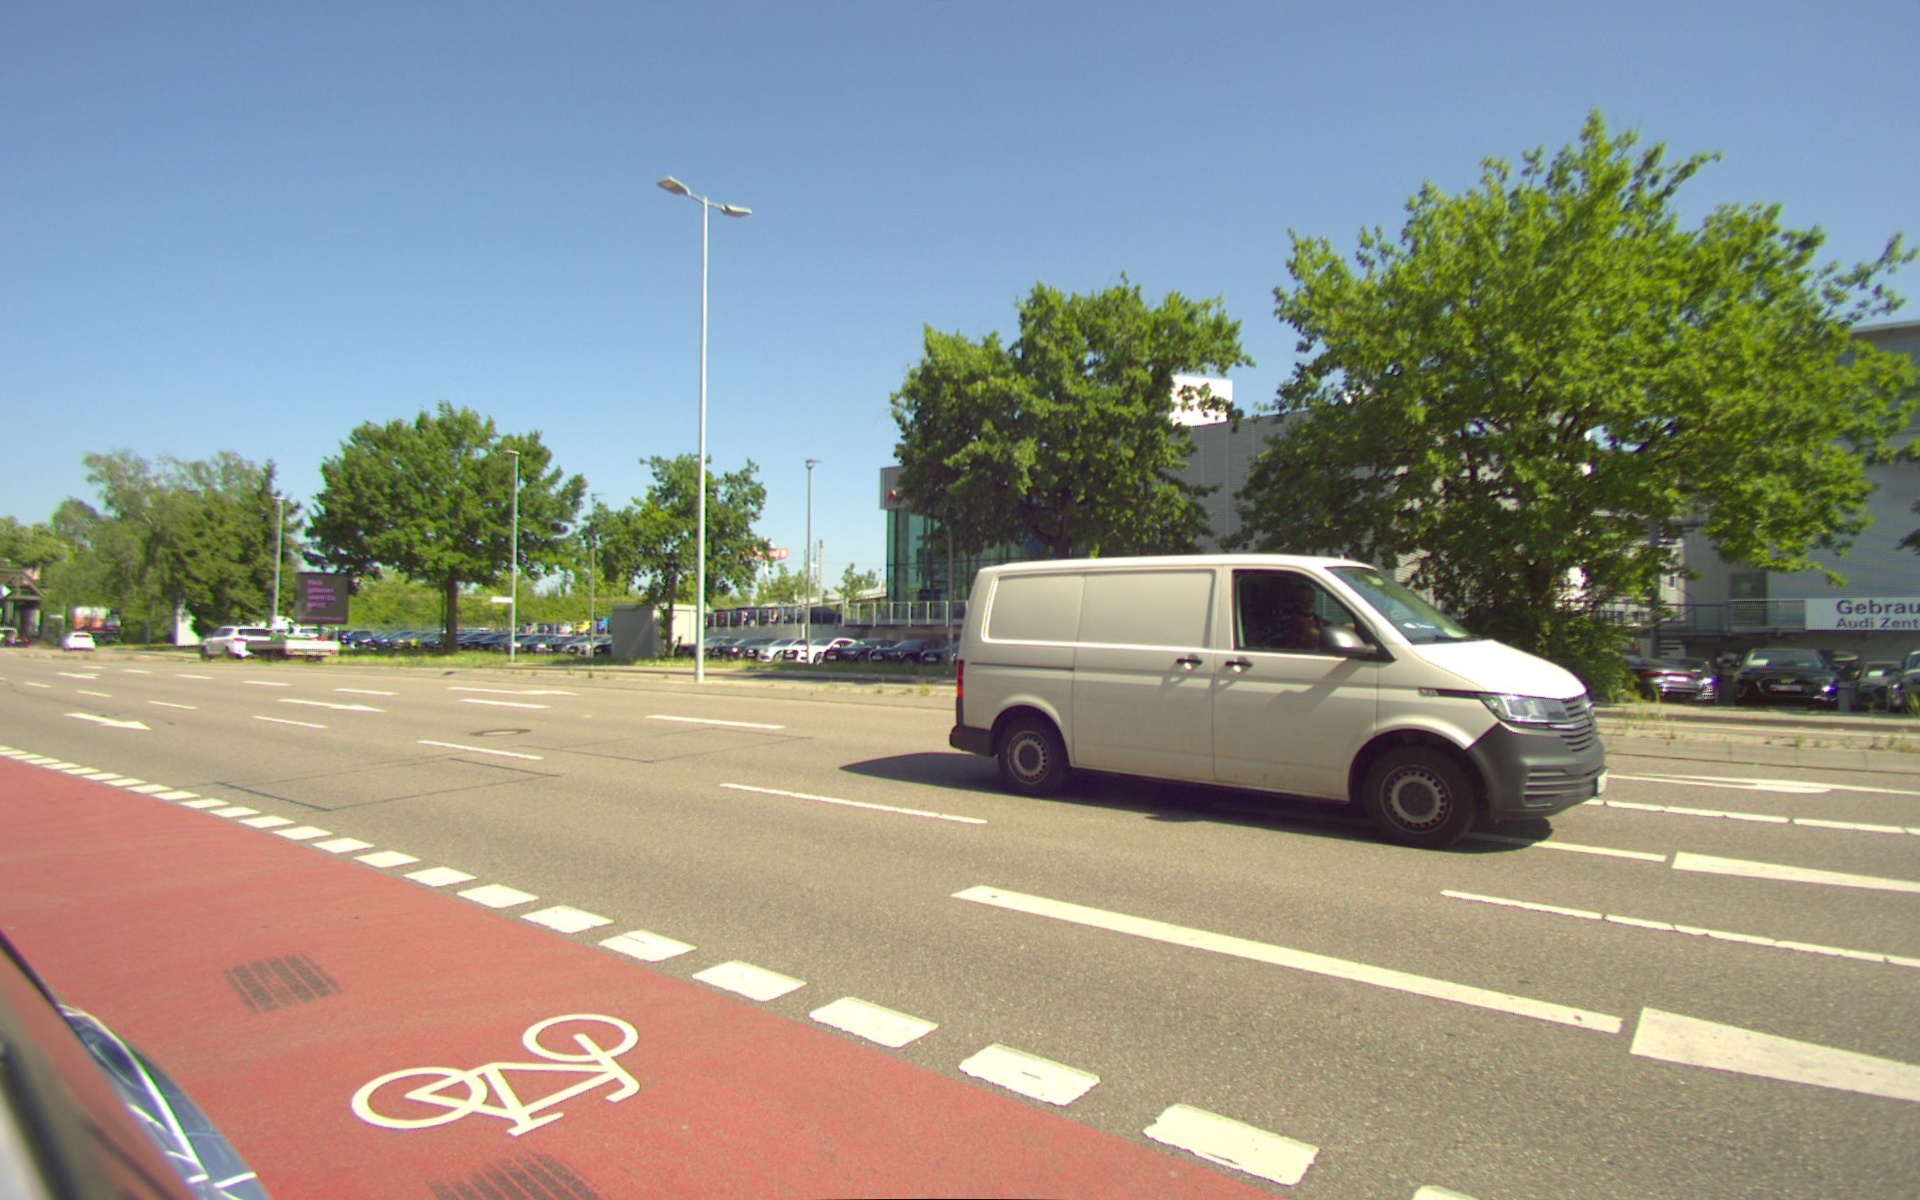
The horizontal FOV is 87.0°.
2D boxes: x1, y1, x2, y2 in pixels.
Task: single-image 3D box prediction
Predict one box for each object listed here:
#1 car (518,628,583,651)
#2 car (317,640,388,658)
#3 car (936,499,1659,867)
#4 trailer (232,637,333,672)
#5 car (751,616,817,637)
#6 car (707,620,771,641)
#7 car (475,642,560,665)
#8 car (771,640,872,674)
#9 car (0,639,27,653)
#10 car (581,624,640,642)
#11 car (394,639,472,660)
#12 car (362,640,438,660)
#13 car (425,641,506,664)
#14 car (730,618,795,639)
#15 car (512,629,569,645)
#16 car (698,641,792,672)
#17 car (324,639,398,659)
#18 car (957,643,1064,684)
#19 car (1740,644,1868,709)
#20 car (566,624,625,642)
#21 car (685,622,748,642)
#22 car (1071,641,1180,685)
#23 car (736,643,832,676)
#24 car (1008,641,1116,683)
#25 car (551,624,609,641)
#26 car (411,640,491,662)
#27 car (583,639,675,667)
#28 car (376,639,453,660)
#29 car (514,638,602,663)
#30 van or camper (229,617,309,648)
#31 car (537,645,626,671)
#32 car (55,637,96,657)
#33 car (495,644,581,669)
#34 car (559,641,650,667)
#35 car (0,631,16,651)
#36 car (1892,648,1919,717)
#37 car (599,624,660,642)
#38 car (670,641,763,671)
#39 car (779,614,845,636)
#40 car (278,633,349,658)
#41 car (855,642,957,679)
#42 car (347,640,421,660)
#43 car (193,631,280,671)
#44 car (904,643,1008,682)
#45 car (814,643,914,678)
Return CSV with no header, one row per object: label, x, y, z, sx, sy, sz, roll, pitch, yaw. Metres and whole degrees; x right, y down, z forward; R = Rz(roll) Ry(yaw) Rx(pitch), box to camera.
car,-31.372,3.032,77.575,1.953,1.655,4.221,-2,-4,41
car,-45.667,3.691,76.143,1.953,1.338,4.221,-2,-4,41
car,2.302,0.558,7.842,4.969,2.009,1.863,-2,-4,39
trailer,-30.285,2.414,45.164,5.762,1.464,1.975,-2,-4,37
car,-12.113,1.875,69.858,1.952,1.361,4.223,-2,-4,40
car,-15.947,2.225,73.056,1.952,1.361,4.223,-2,-4,40
car,-26.280,3.183,60.223,1.953,1.361,4.221,-2,-4,41
car,-5.919,2.447,43.613,2.023,1.387,4.002,-2,-4,39
car,-94.403,4.560,100.429,4.676,1.424,1.973,-2,-4,39
car,-28.560,2.738,82.771,1.952,1.361,4.223,-2,-4,40
car,-35.322,3.339,67.911,1.953,1.361,4.221,-2,-4,41
car,-39.340,3.536,71.150,1.953,1.361,4.221,-2,-4,41
car,-31.505,3.343,64.533,1.953,1.361,4.221,-2,-4,41
car,-13.947,2.060,71.498,1.952,1.361,4.223,-2,-4,40
car,-36.790,3.257,88.883,1.952,1.361,4.223,-2,-4,40
car,-9.902,2.612,46.757,1.863,1.387,3.947,-2,-4,39
car,-43.596,3.594,73.729,1.953,1.392,4.221,-2,-4,41
car,1.885,2.270,36.685,1.922,1.387,3.947,-2,-4,39
car,18.729,1.659,22.621,1.997,1.321,3.949,-2,-4,38
car,-30.346,2.782,84.441,1.952,1.361,4.223,-2,-4,40
car,-17.995,2.402,74.864,1.952,1.361,4.223,-2,-4,40
car,5.606,2.086,33.932,1.922,1.387,3.947,-2,-4,39
car,-7.807,2.636,45.102,1.863,1.387,3.947,-2,-4,39
car,3.614,2.150,35.396,1.922,1.387,3.947,-2,-4,39
car,-32.213,2.785,85.939,1.952,1.361,4.223,-2,-4,40
car,-33.341,3.356,66.345,1.953,1.361,4.221,-2,-4,41
car,-17.306,2.775,53.058,1.953,1.361,4.221,-2,-4,41
car,-37.397,3.417,69.443,1.953,1.361,4.221,-2,-4,41
car,-22.726,2.888,57.328,1.953,1.361,4.221,-2,-4,41
van or camper,-59.064,2.795,86.618,1.996,2.489,5.329,-3,-2,37
car,-20.941,3.190,56.142,1.953,1.361,4.221,-2,-4,41
car,-69.583,3.691,79.590,3.543,1.475,1.638,-2,-5,37
car,-24.472,3.279,58.797,1.953,1.361,4.221,-2,-4,41
car,-19.151,2.912,54.679,1.953,1.361,4.221,-2,-4,41
car,-100.450,4.350,105.939,5.347,2.029,1.971,-3,-5,44
car,20.833,1.683,20.857,1.997,1.353,4.110,-2,-4,38
car,-26.421,2.687,81.011,1.952,1.361,4.223,-2,-4,40
car,-11.608,2.678,48.393,1.998,1.387,3.947,-2,-4,39
car,-9.922,1.688,68.090,1.952,1.361,4.223,-2,-4,40
car,-50.332,3.532,78.862,1.953,1.899,4.221,-2,-4,41
car,-2.082,2.403,40.173,1.922,1.387,3.947,-2,-4,39
car,-41.362,3.595,72.736,1.953,1.361,4.221,-2,-4,41
car,-34.593,2.421,48.356,4.929,1.847,1.975,-2,-4,37
car,-0.105,2.355,38.468,1.922,1.387,3.947,-2,-4,39
car,-3.906,2.474,41.803,1.922,1.387,3.947,-2,-4,39
